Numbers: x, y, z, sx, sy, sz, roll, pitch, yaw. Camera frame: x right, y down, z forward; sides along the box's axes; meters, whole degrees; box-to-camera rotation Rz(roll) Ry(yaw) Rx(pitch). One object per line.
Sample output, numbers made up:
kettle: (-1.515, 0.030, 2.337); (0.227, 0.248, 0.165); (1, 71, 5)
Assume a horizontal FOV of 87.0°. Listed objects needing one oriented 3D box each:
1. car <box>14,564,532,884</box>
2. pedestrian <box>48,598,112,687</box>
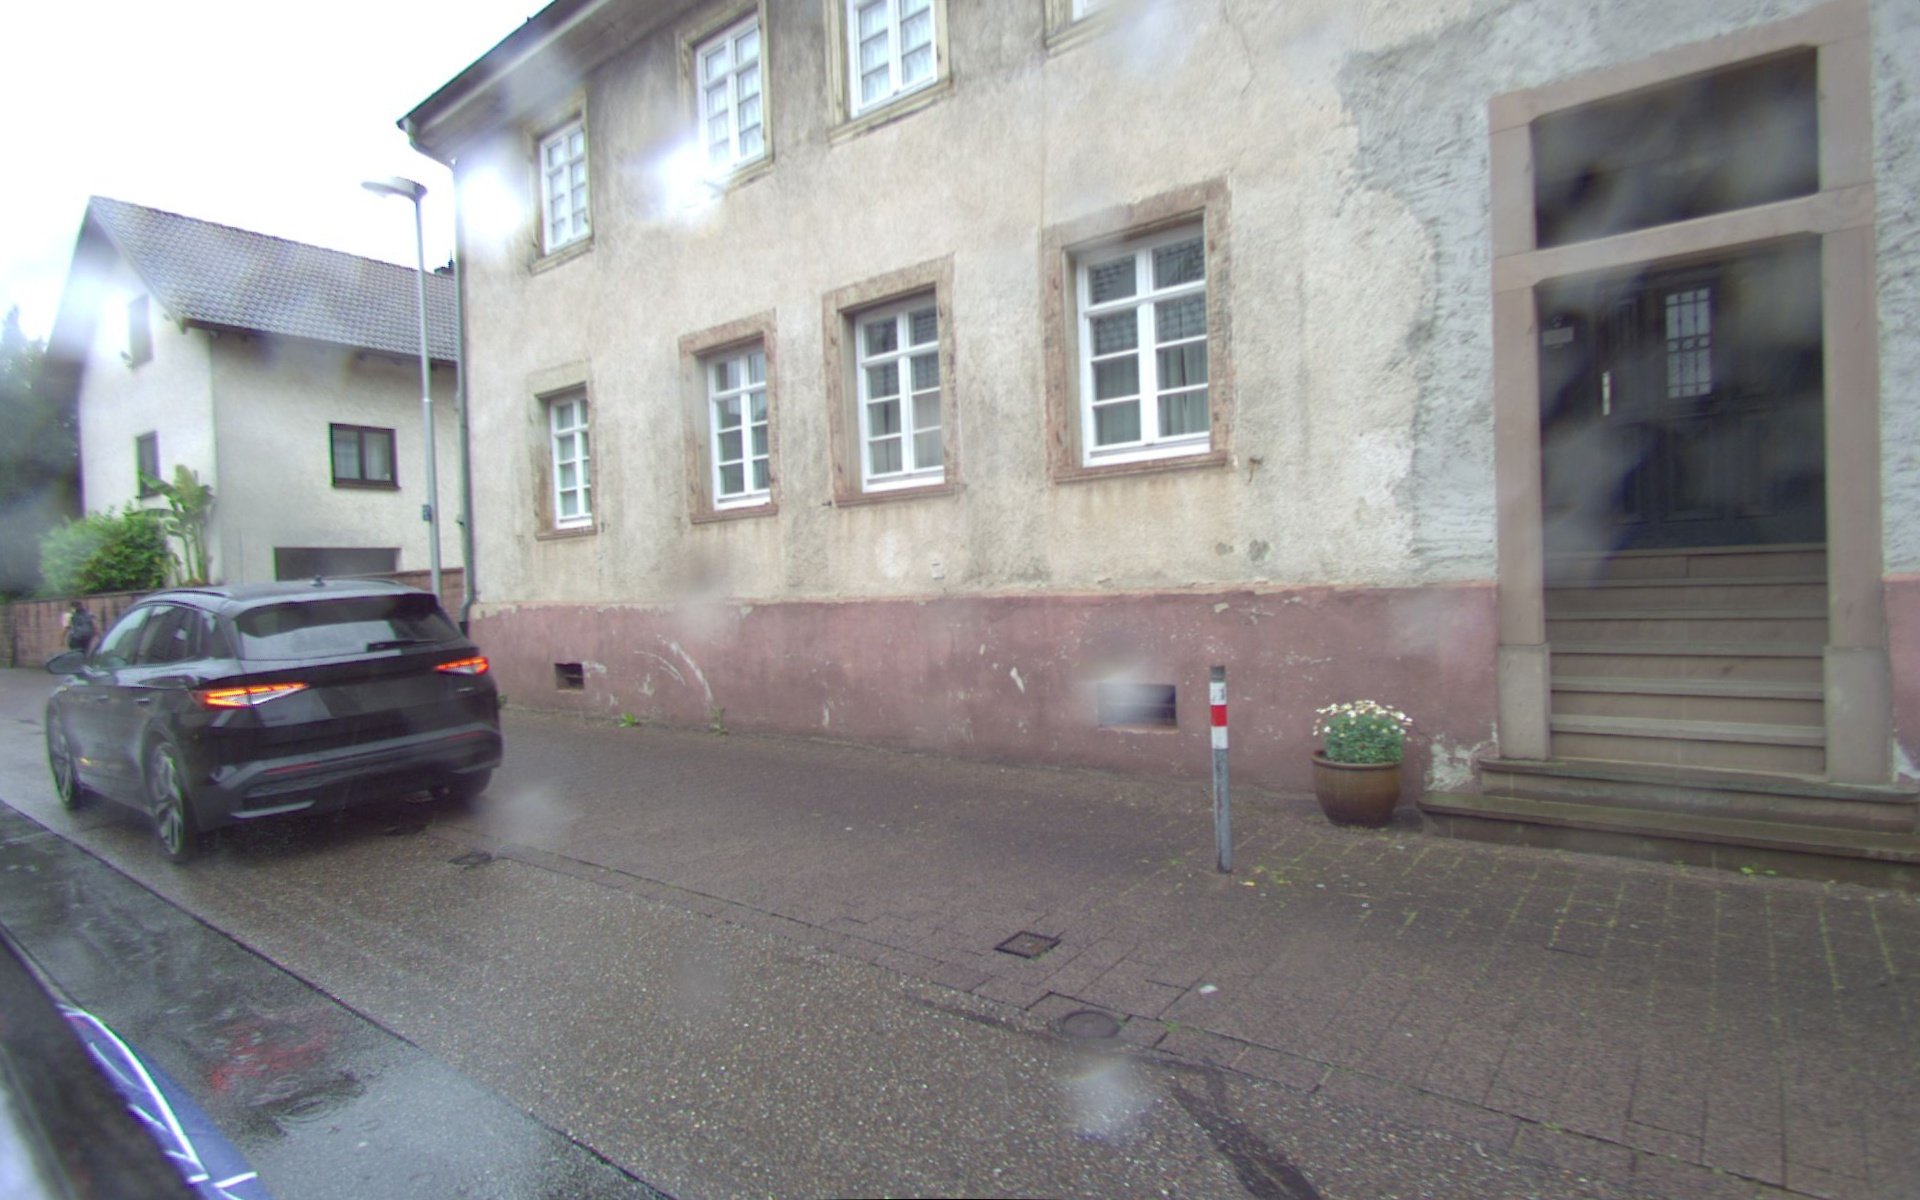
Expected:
car: (-5.038, 0.642, 7.199); (4.234, 1.567, 1.815); (-1, 3, 39)
pedestrian: (-15.996, 0.766, 18.397); (0.830, 1.549, 0.567); (-1, 3, 33)
